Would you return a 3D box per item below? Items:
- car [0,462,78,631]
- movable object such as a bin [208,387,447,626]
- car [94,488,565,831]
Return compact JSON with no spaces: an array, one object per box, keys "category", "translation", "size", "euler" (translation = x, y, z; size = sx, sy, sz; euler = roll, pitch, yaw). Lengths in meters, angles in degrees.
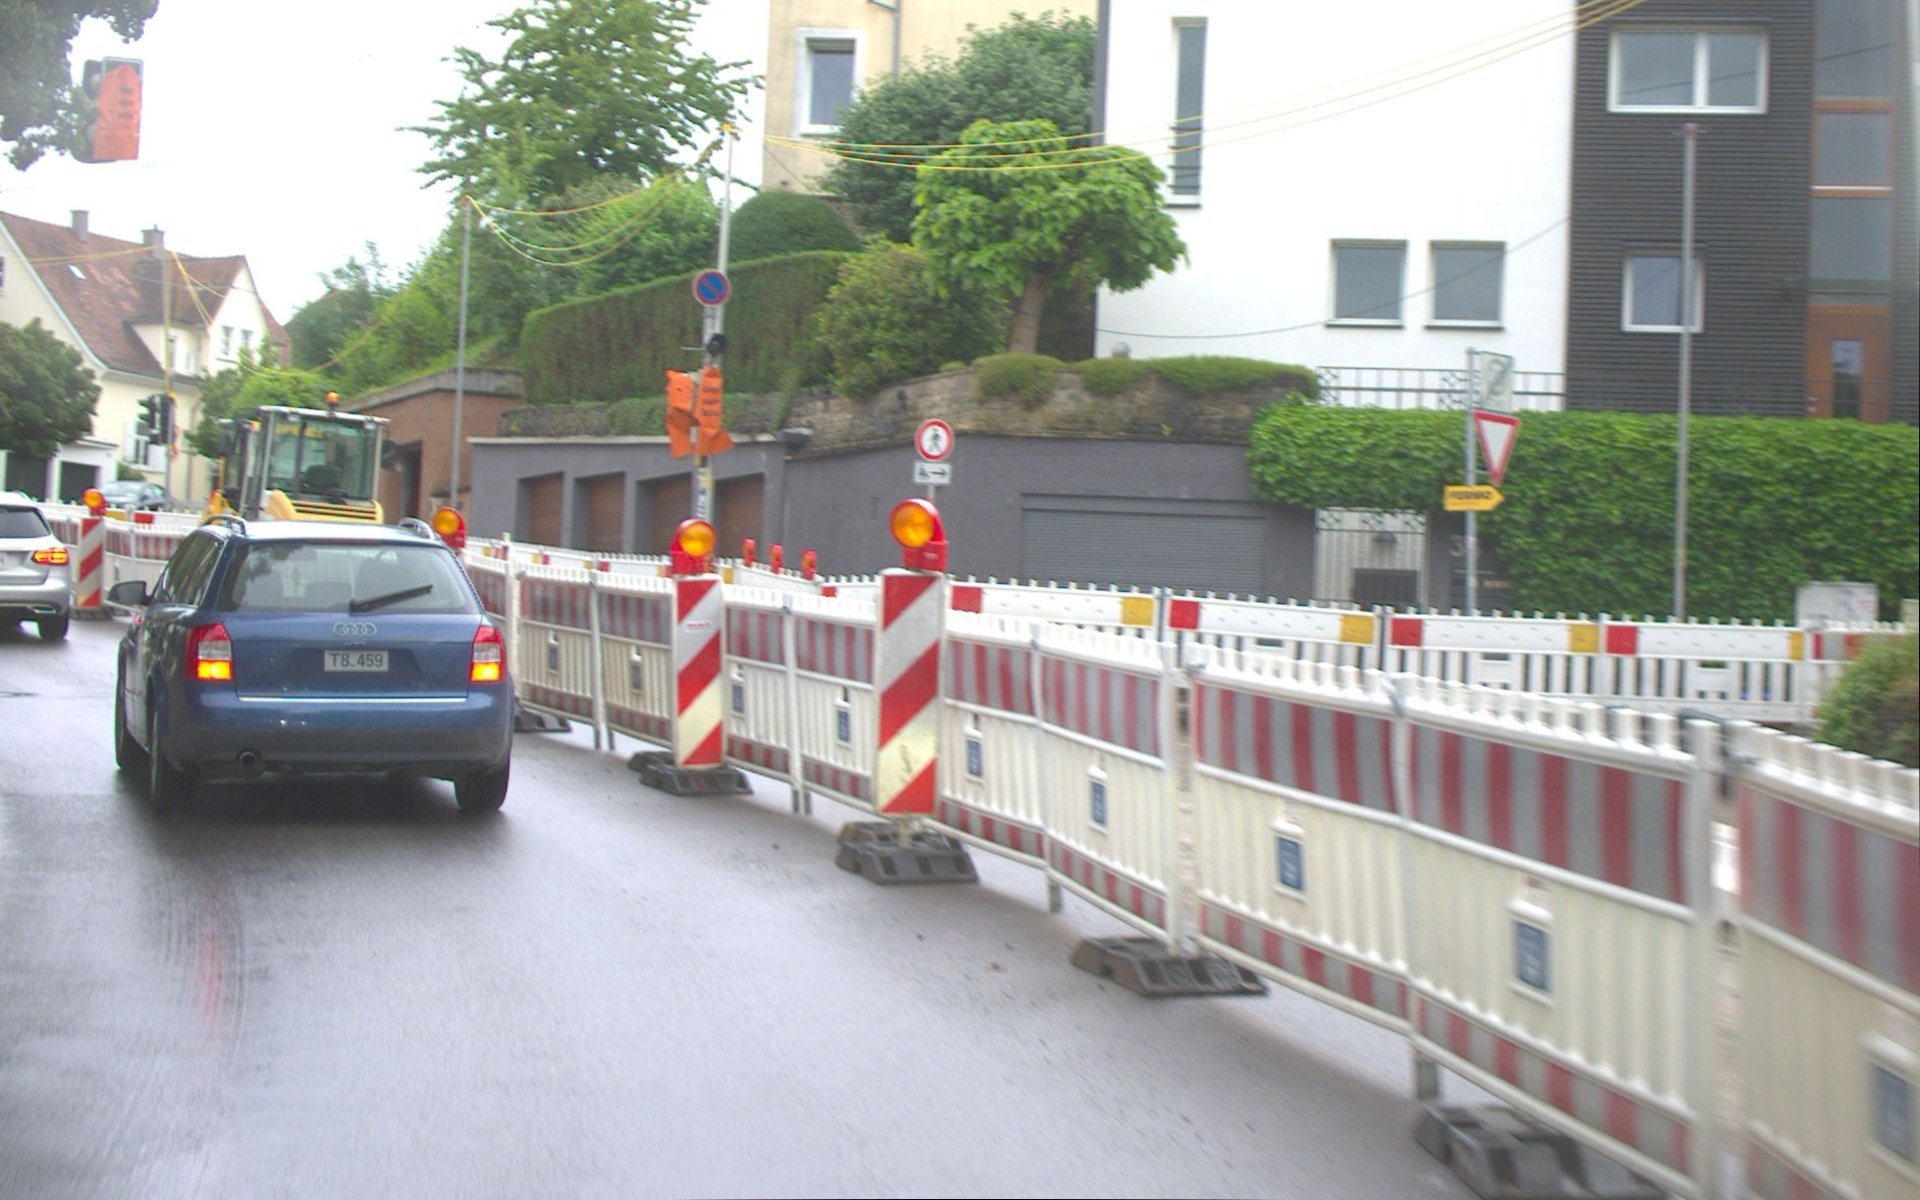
[{"category":"car","translation":[-10.209,-0.535,34.752],"size":[1.926,1.612,4.321],"euler":[-1,1,-22]},{"category":"movable object such as a bin","translation":[-7.396,-1.148,39.906],"size":[1.993,2.604,4.002],"euler":[-1,4,-21]},{"category":"car","translation":[-3.390,0.233,17.890],"size":[1.785,1.437,3.965],"euler":[3,2,-19]}]
